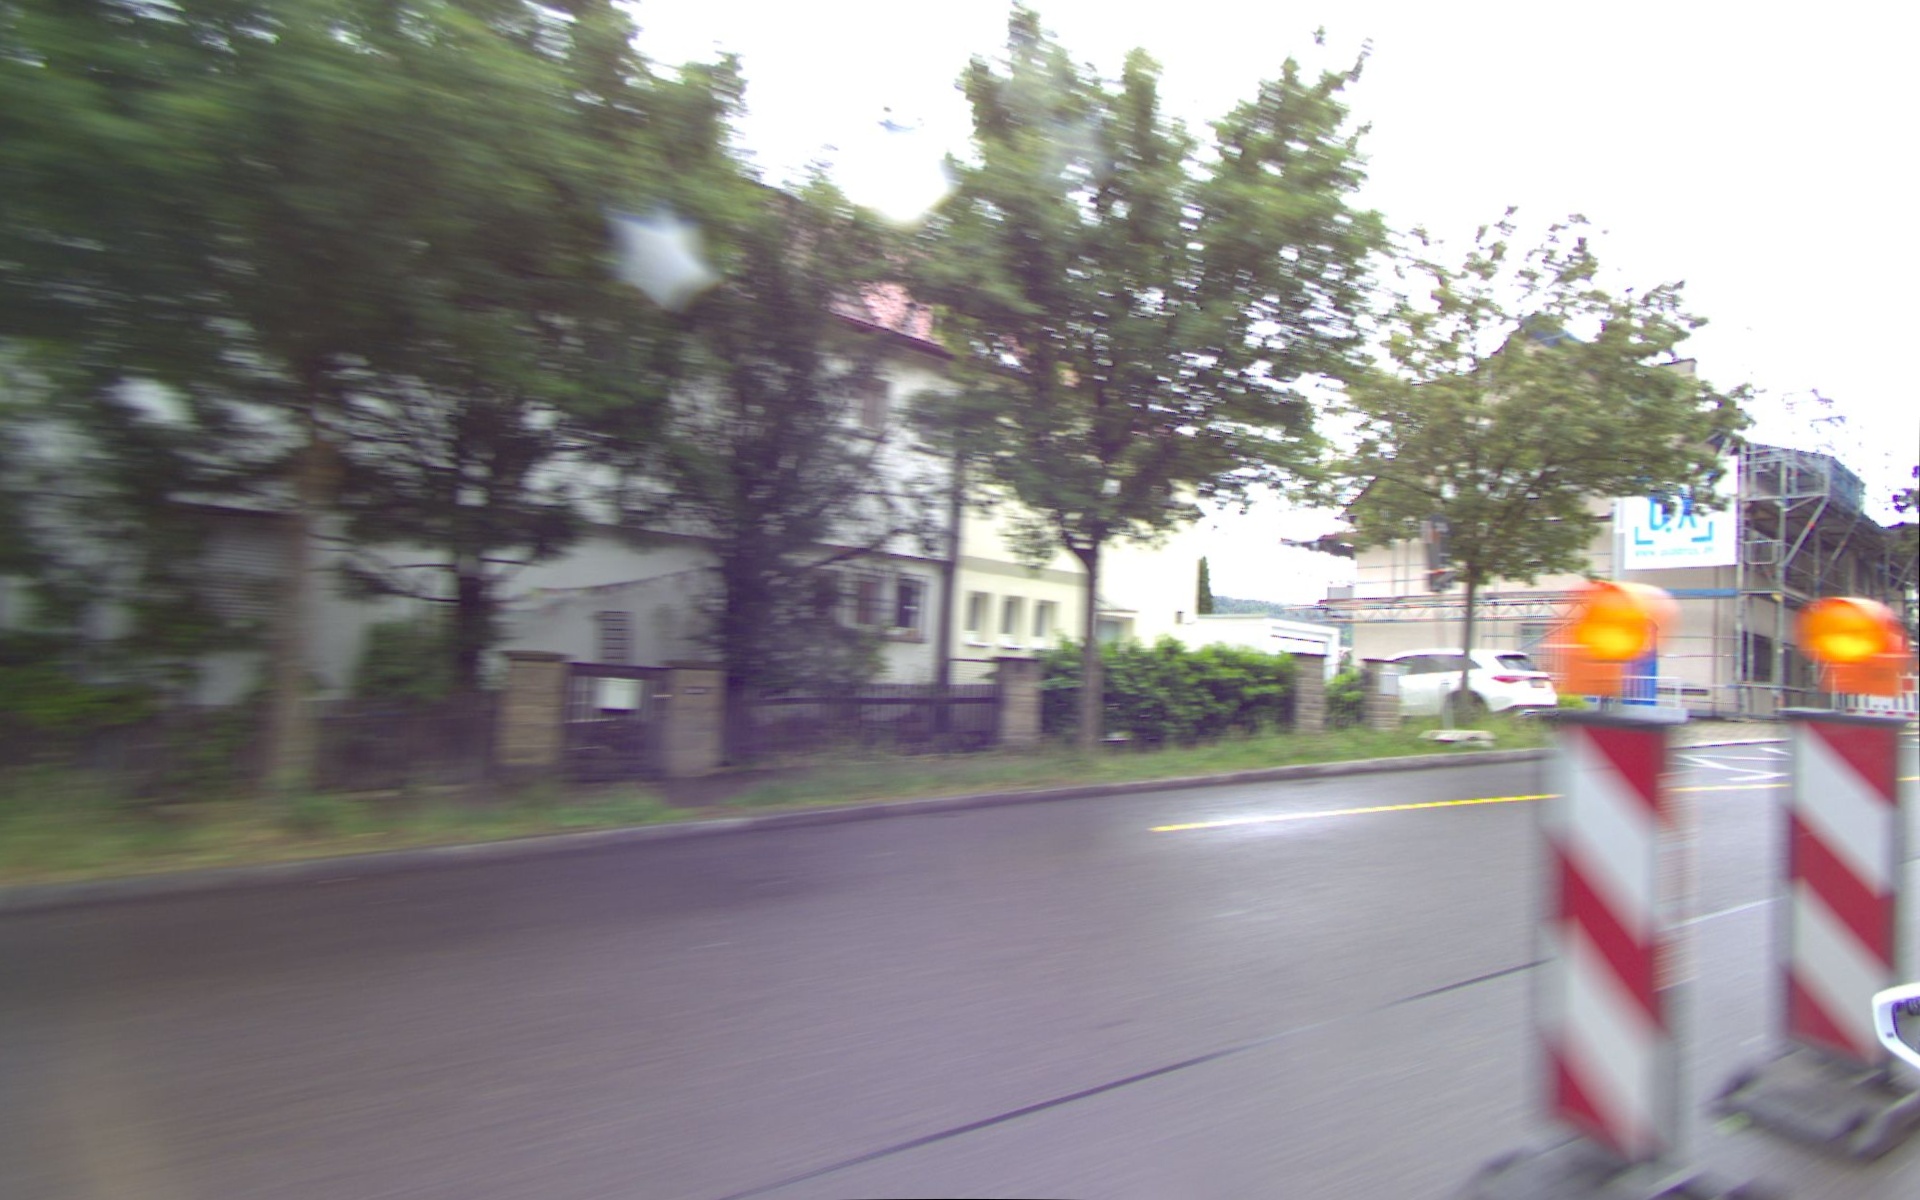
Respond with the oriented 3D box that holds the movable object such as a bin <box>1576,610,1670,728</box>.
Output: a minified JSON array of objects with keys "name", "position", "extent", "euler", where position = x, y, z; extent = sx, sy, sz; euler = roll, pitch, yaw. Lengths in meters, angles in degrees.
[{"name":"movable object such as a bin","position":[14.803,1.512,22.443],"extent":[1.372,2.538,1.305],"euler":[2,-2,-33]}]

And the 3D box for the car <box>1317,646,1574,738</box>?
[{"name":"car","position":[9.491,1.820,19.963],"extent":[1.931,1.624,4.171],"euler":[3,-6,-35]}]
